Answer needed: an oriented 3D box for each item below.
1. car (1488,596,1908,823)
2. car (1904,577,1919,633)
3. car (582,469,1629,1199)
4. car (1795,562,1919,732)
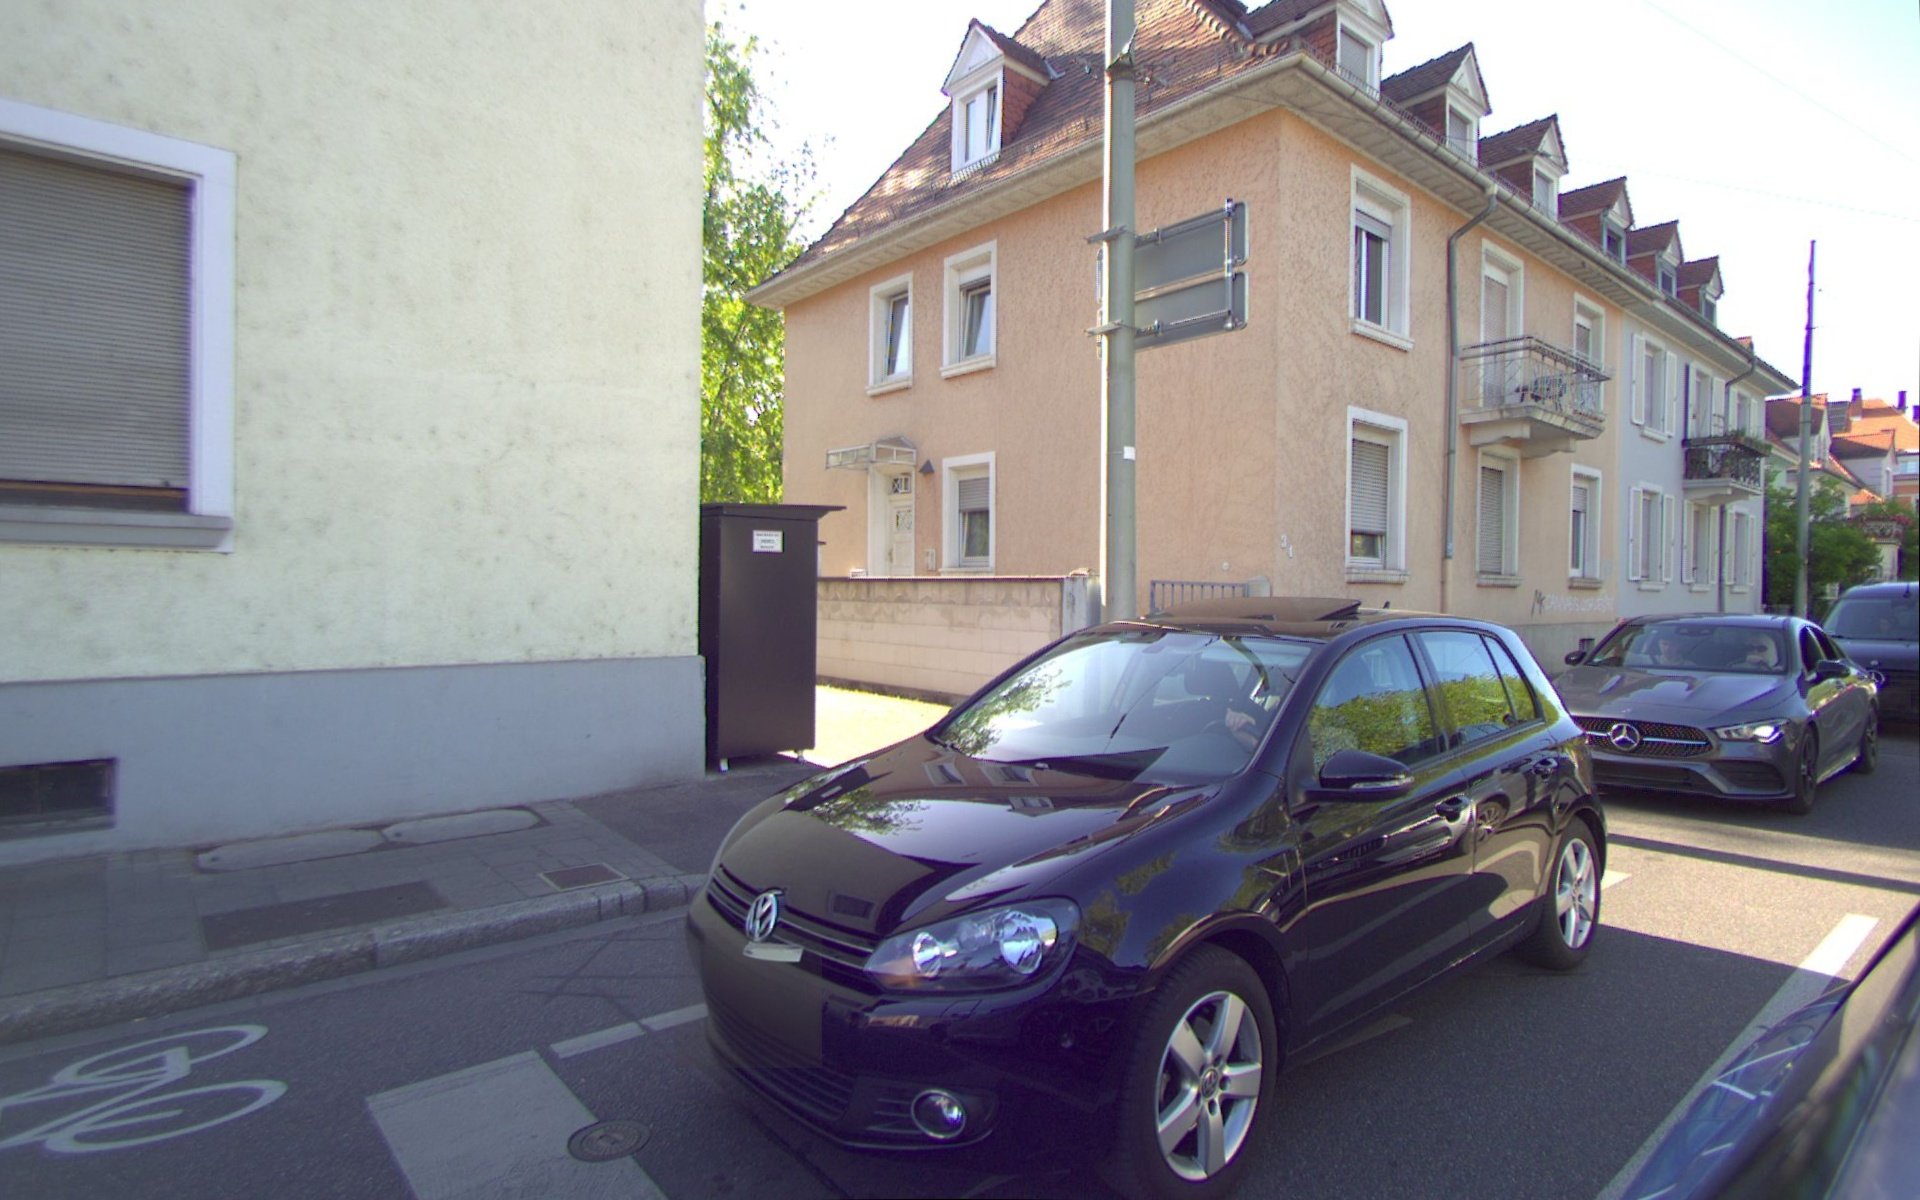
[{"bbox_3d":[6.488,0.697,8.708,4.413,1.437,1.911,-1,0,-40],"label":"car"},{"bbox_3d":[27.220,0.120,27.526,3.930,1.476,1.839,-1,0,-41],"label":"car"},{"bbox_3d":[0.892,0.567,3.823,3.979,1.527,1.731,2,-1,-41],"label":"car"},{"bbox_3d":[12.035,0.480,12.538,4.695,1.827,1.864,-1,0,-41],"label":"car"}]
